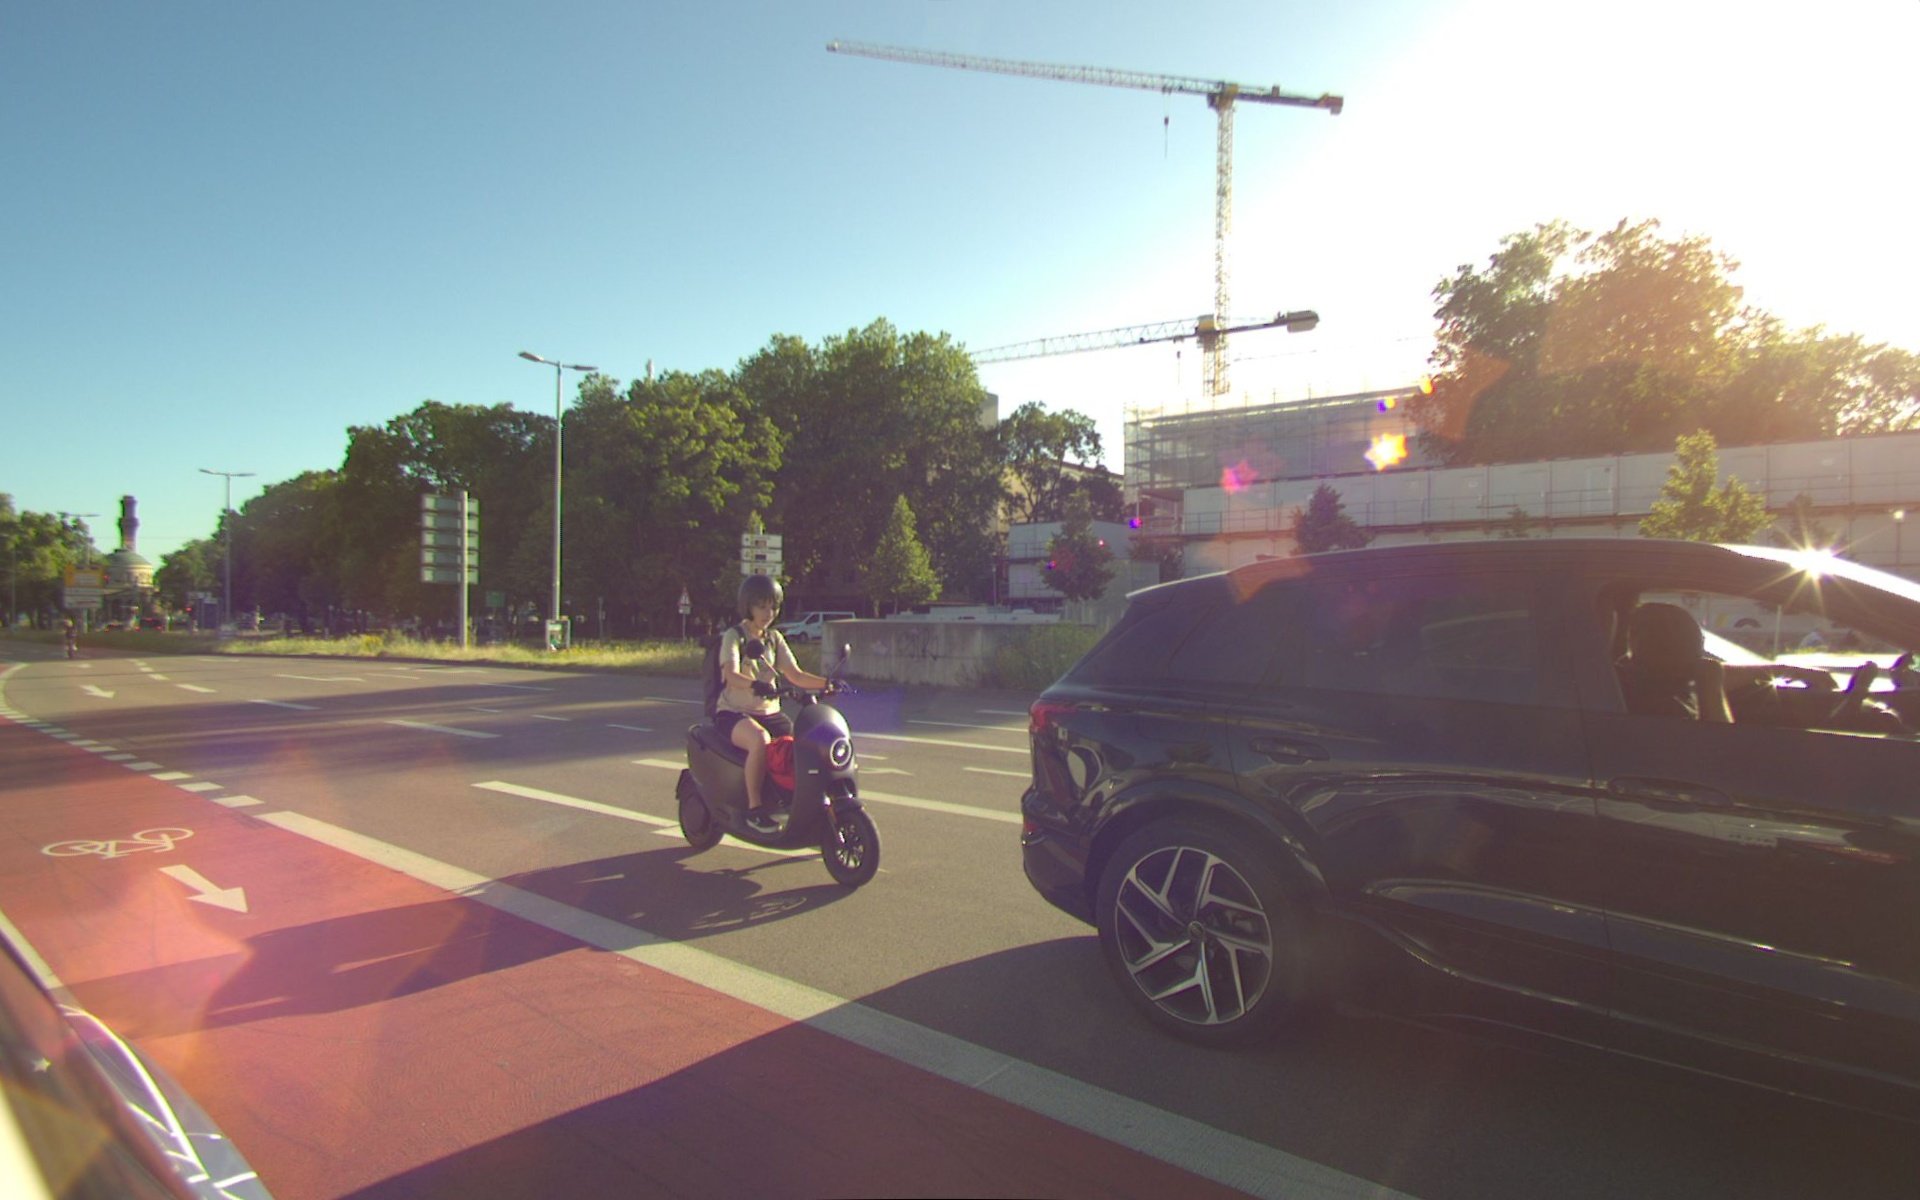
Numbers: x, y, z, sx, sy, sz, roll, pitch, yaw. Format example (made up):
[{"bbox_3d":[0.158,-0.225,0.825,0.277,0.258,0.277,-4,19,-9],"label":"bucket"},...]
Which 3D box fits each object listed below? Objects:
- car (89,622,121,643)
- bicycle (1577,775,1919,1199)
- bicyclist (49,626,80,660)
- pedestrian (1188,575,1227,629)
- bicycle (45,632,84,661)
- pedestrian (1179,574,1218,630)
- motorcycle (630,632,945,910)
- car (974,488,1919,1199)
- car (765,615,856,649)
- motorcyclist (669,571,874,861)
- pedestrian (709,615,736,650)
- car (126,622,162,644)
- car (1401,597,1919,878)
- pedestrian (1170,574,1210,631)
[{"bbox_3d":[-79.872,3.033,94.527,3.945,1.802,1.725,-1,0,41],"label":"car"},{"bbox_3d":[1.292,0.789,0.283,1.829,1.227,0.610,-2,-1,39],"label":"bicycle"},{"bbox_3d":[-36.507,1.751,41.270,0.829,1.358,0.843,-2,-1,41],"label":"bicyclist"},{"bbox_3d":[9.395,0.071,38.396,1.135,2.029,0.930,-1,0,35],"label":"pedestrian"},{"bbox_3d":[-36.526,1.866,41.276,2.806,1.124,0.843,-2,-1,41],"label":"bicycle"},{"bbox_3d":[8.883,0.078,37.612,1.135,2.029,0.930,-1,0,35],"label":"pedestrian"},{"bbox_3d":[-1.031,0.845,5.728,1.883,1.303,0.715,-2,-1,41],"label":"motorcycle"},{"bbox_3d":[2.417,0.580,3.025,4.677,1.647,1.753,-1,0,40],"label":"car"},{"bbox_3d":[-9.062,1.927,61.843,2.065,1.950,5.443,-1,-2,42],"label":"car"},{"bbox_3d":[-1.078,0.599,5.769,0.917,1.485,0.717,-2,-1,41],"label":"motorcyclist"},{"bbox_3d":[-12.762,1.751,54.275,1.017,1.845,0.977,-1,0,37],"label":"pedestrian"},{"bbox_3d":[-71.438,2.850,88.605,3.998,1.841,1.796,-1,0,41],"label":"car"},{"bbox_3d":[4.975,0.758,6.545,3.603,1.497,1.477,-2,-1,41],"label":"car"},{"bbox_3d":[8.348,0.085,36.780,1.135,2.029,0.930,-1,0,35],"label":"pedestrian"}]
